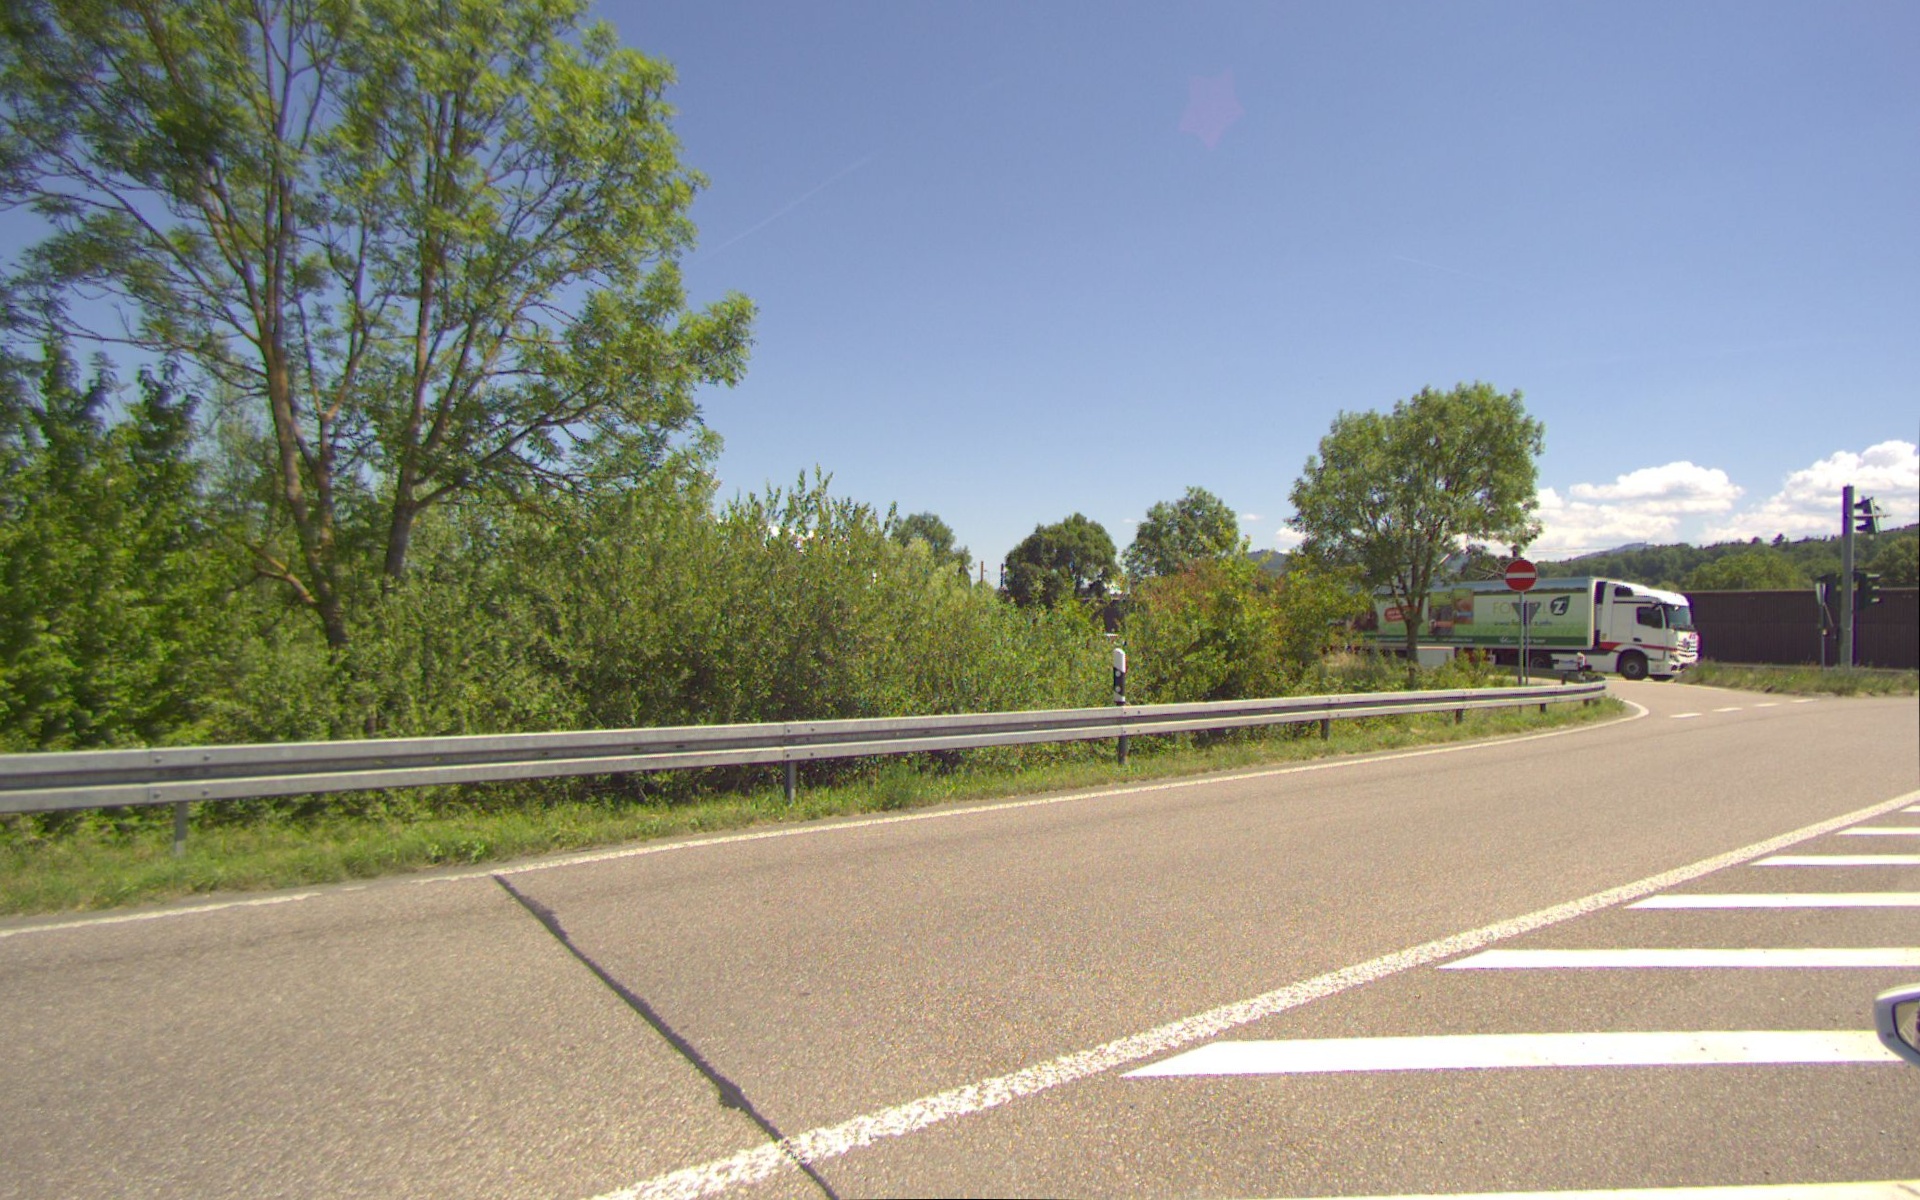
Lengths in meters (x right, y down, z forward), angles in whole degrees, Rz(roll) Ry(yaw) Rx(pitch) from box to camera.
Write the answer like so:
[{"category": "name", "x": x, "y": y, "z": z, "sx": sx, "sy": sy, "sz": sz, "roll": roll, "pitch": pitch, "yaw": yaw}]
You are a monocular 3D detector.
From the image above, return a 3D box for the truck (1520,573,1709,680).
[{"category": "truck", "x": 26.528, "y": 1.053, "z": 40.954, "sx": 3.027, "sy": 4.007, "sz": 5.736, "roll": 2, "pitch": -1, "yaw": -31}]

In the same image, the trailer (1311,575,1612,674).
[{"category": "trailer", "x": 22.833, "y": 1.056, "z": 47.187, "sx": 3.027, "sy": 4.007, "sz": 13.074, "roll": 2, "pitch": -1, "yaw": -31}]

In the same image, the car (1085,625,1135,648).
[{"category": "car", "x": 10.373, "y": 2.520, "z": 69.672, "sx": 1.537, "sy": 1.484, "sz": 3.455, "roll": 2, "pitch": -1, "yaw": -31}]
